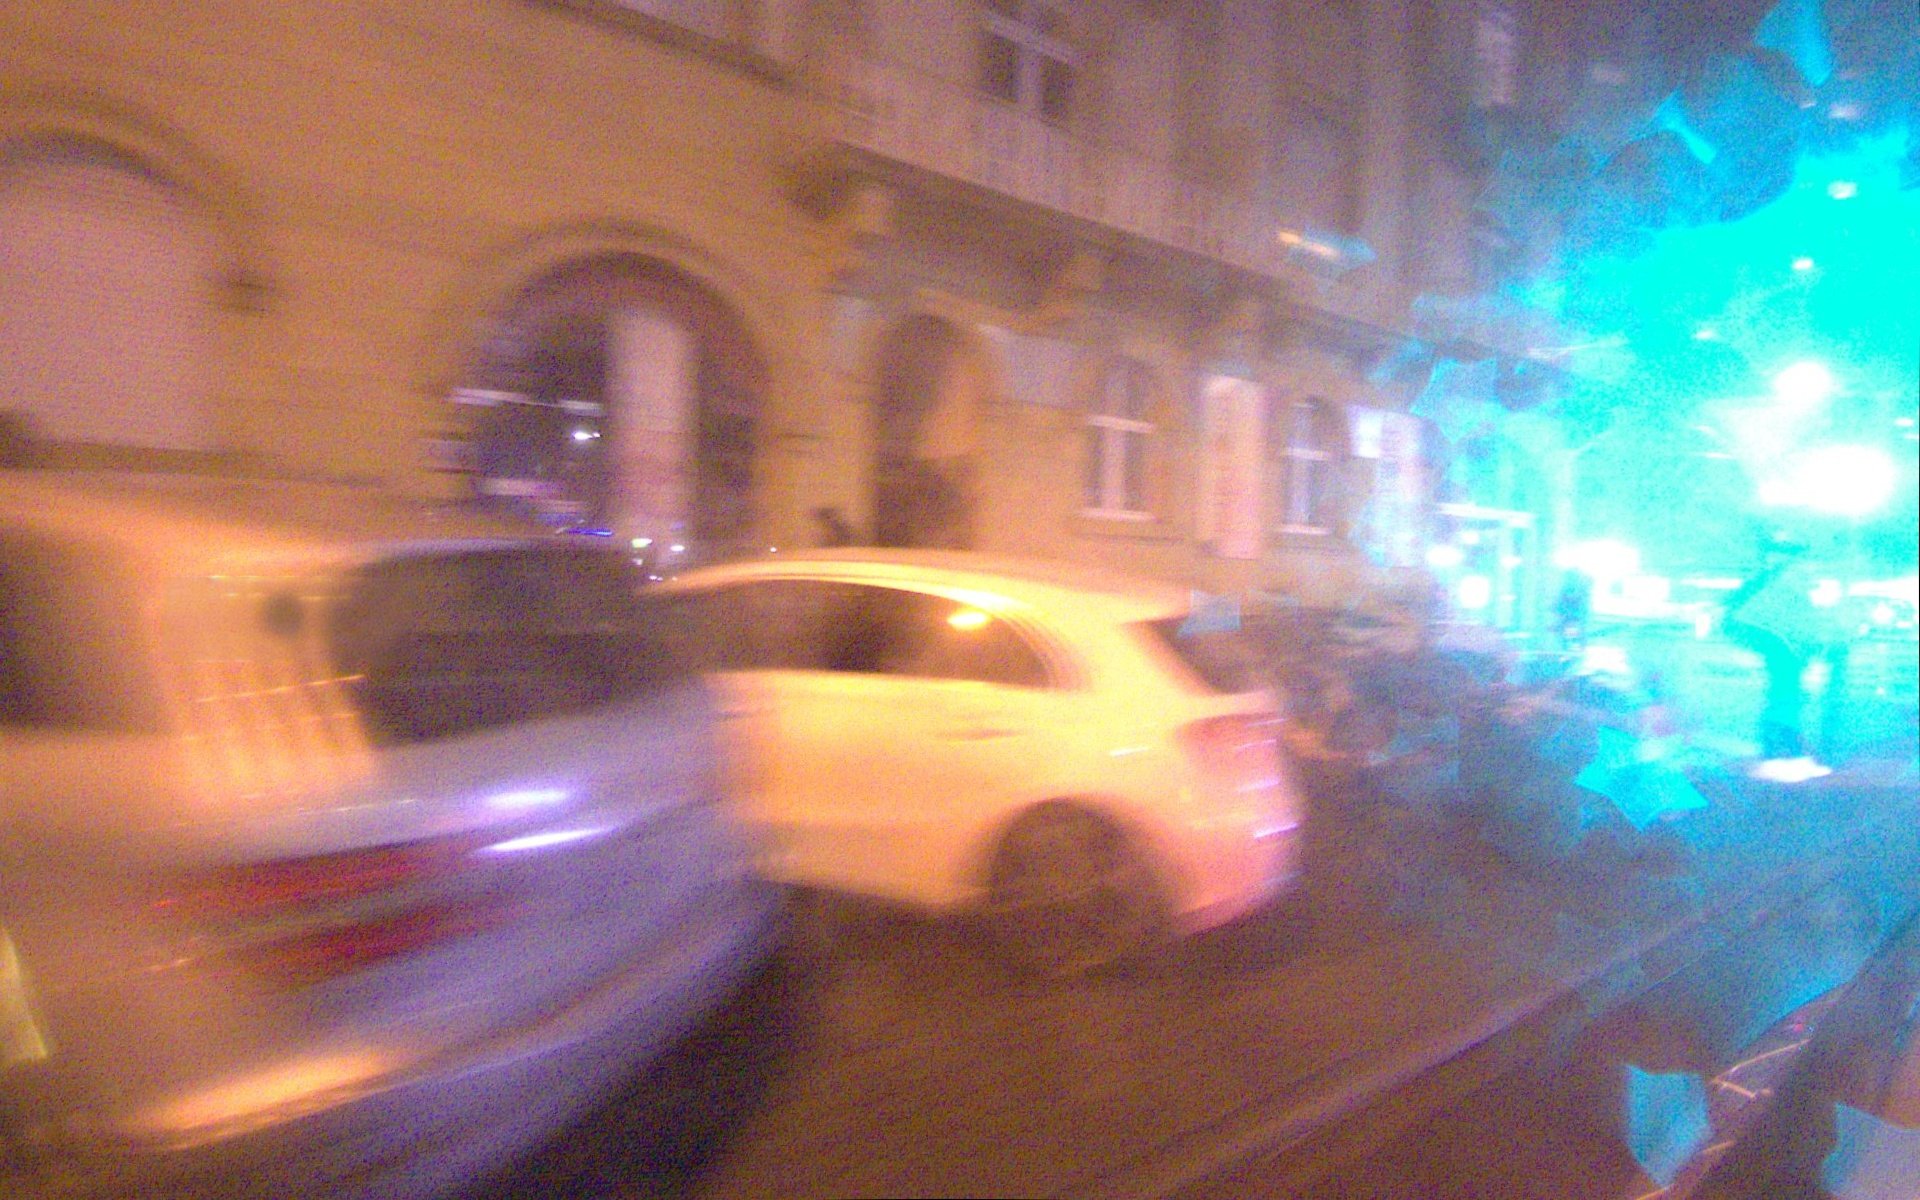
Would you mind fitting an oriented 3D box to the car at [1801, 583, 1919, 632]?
[{"bbox_3d":[31.369,0.215,34.887,1.682,1.561,3.983,1,1,6],"label":"car"}]

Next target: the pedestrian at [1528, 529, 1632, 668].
[{"bbox_3d":[9.531,-0.033,15.566,0.958,2.039,1.016,1,0,-32],"label":"pedestrian"}]

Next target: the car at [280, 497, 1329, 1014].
[{"bbox_3d":[-0.635,0.392,4.561,4.129,1.475,1.848,3,2,17],"label":"car"}]

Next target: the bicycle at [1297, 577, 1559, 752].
[{"bbox_3d":[3.993,0.482,8.786,0.698,1.267,1.901,-1,4,-40],"label":"bicycle"}]

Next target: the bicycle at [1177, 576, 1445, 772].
[{"bbox_3d":[2.663,0.489,7.888,0.585,1.267,1.901,-1,4,-40],"label":"bicycle"}]

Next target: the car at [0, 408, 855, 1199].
[{"bbox_3d":[-2.588,0.406,2.883,4.129,1.596,1.872,3,2,17],"label":"car"}]

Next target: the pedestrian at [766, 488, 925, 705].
[{"bbox_3d":[-0.938,-0.043,8.240,0.981,1.637,0.784,1,3,-35],"label":"pedestrian"}]

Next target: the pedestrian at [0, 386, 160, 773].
[{"bbox_3d":[-4.956,-0.114,5.415,0.981,1.905,0.961,1,1,-35],"label":"pedestrian"}]

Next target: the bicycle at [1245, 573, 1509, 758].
[{"bbox_3d":[3.341,0.456,8.286,0.585,1.267,1.901,-1,4,-40],"label":"bicycle"}]

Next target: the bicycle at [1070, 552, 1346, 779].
[{"bbox_3d":[1.696,0.376,7.249,0.585,1.376,1.901,0,4,-40],"label":"bicycle"}]

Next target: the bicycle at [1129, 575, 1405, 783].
[{"bbox_3d":[2.193,0.493,7.486,0.585,1.267,1.901,-1,4,-40],"label":"bicycle"}]
